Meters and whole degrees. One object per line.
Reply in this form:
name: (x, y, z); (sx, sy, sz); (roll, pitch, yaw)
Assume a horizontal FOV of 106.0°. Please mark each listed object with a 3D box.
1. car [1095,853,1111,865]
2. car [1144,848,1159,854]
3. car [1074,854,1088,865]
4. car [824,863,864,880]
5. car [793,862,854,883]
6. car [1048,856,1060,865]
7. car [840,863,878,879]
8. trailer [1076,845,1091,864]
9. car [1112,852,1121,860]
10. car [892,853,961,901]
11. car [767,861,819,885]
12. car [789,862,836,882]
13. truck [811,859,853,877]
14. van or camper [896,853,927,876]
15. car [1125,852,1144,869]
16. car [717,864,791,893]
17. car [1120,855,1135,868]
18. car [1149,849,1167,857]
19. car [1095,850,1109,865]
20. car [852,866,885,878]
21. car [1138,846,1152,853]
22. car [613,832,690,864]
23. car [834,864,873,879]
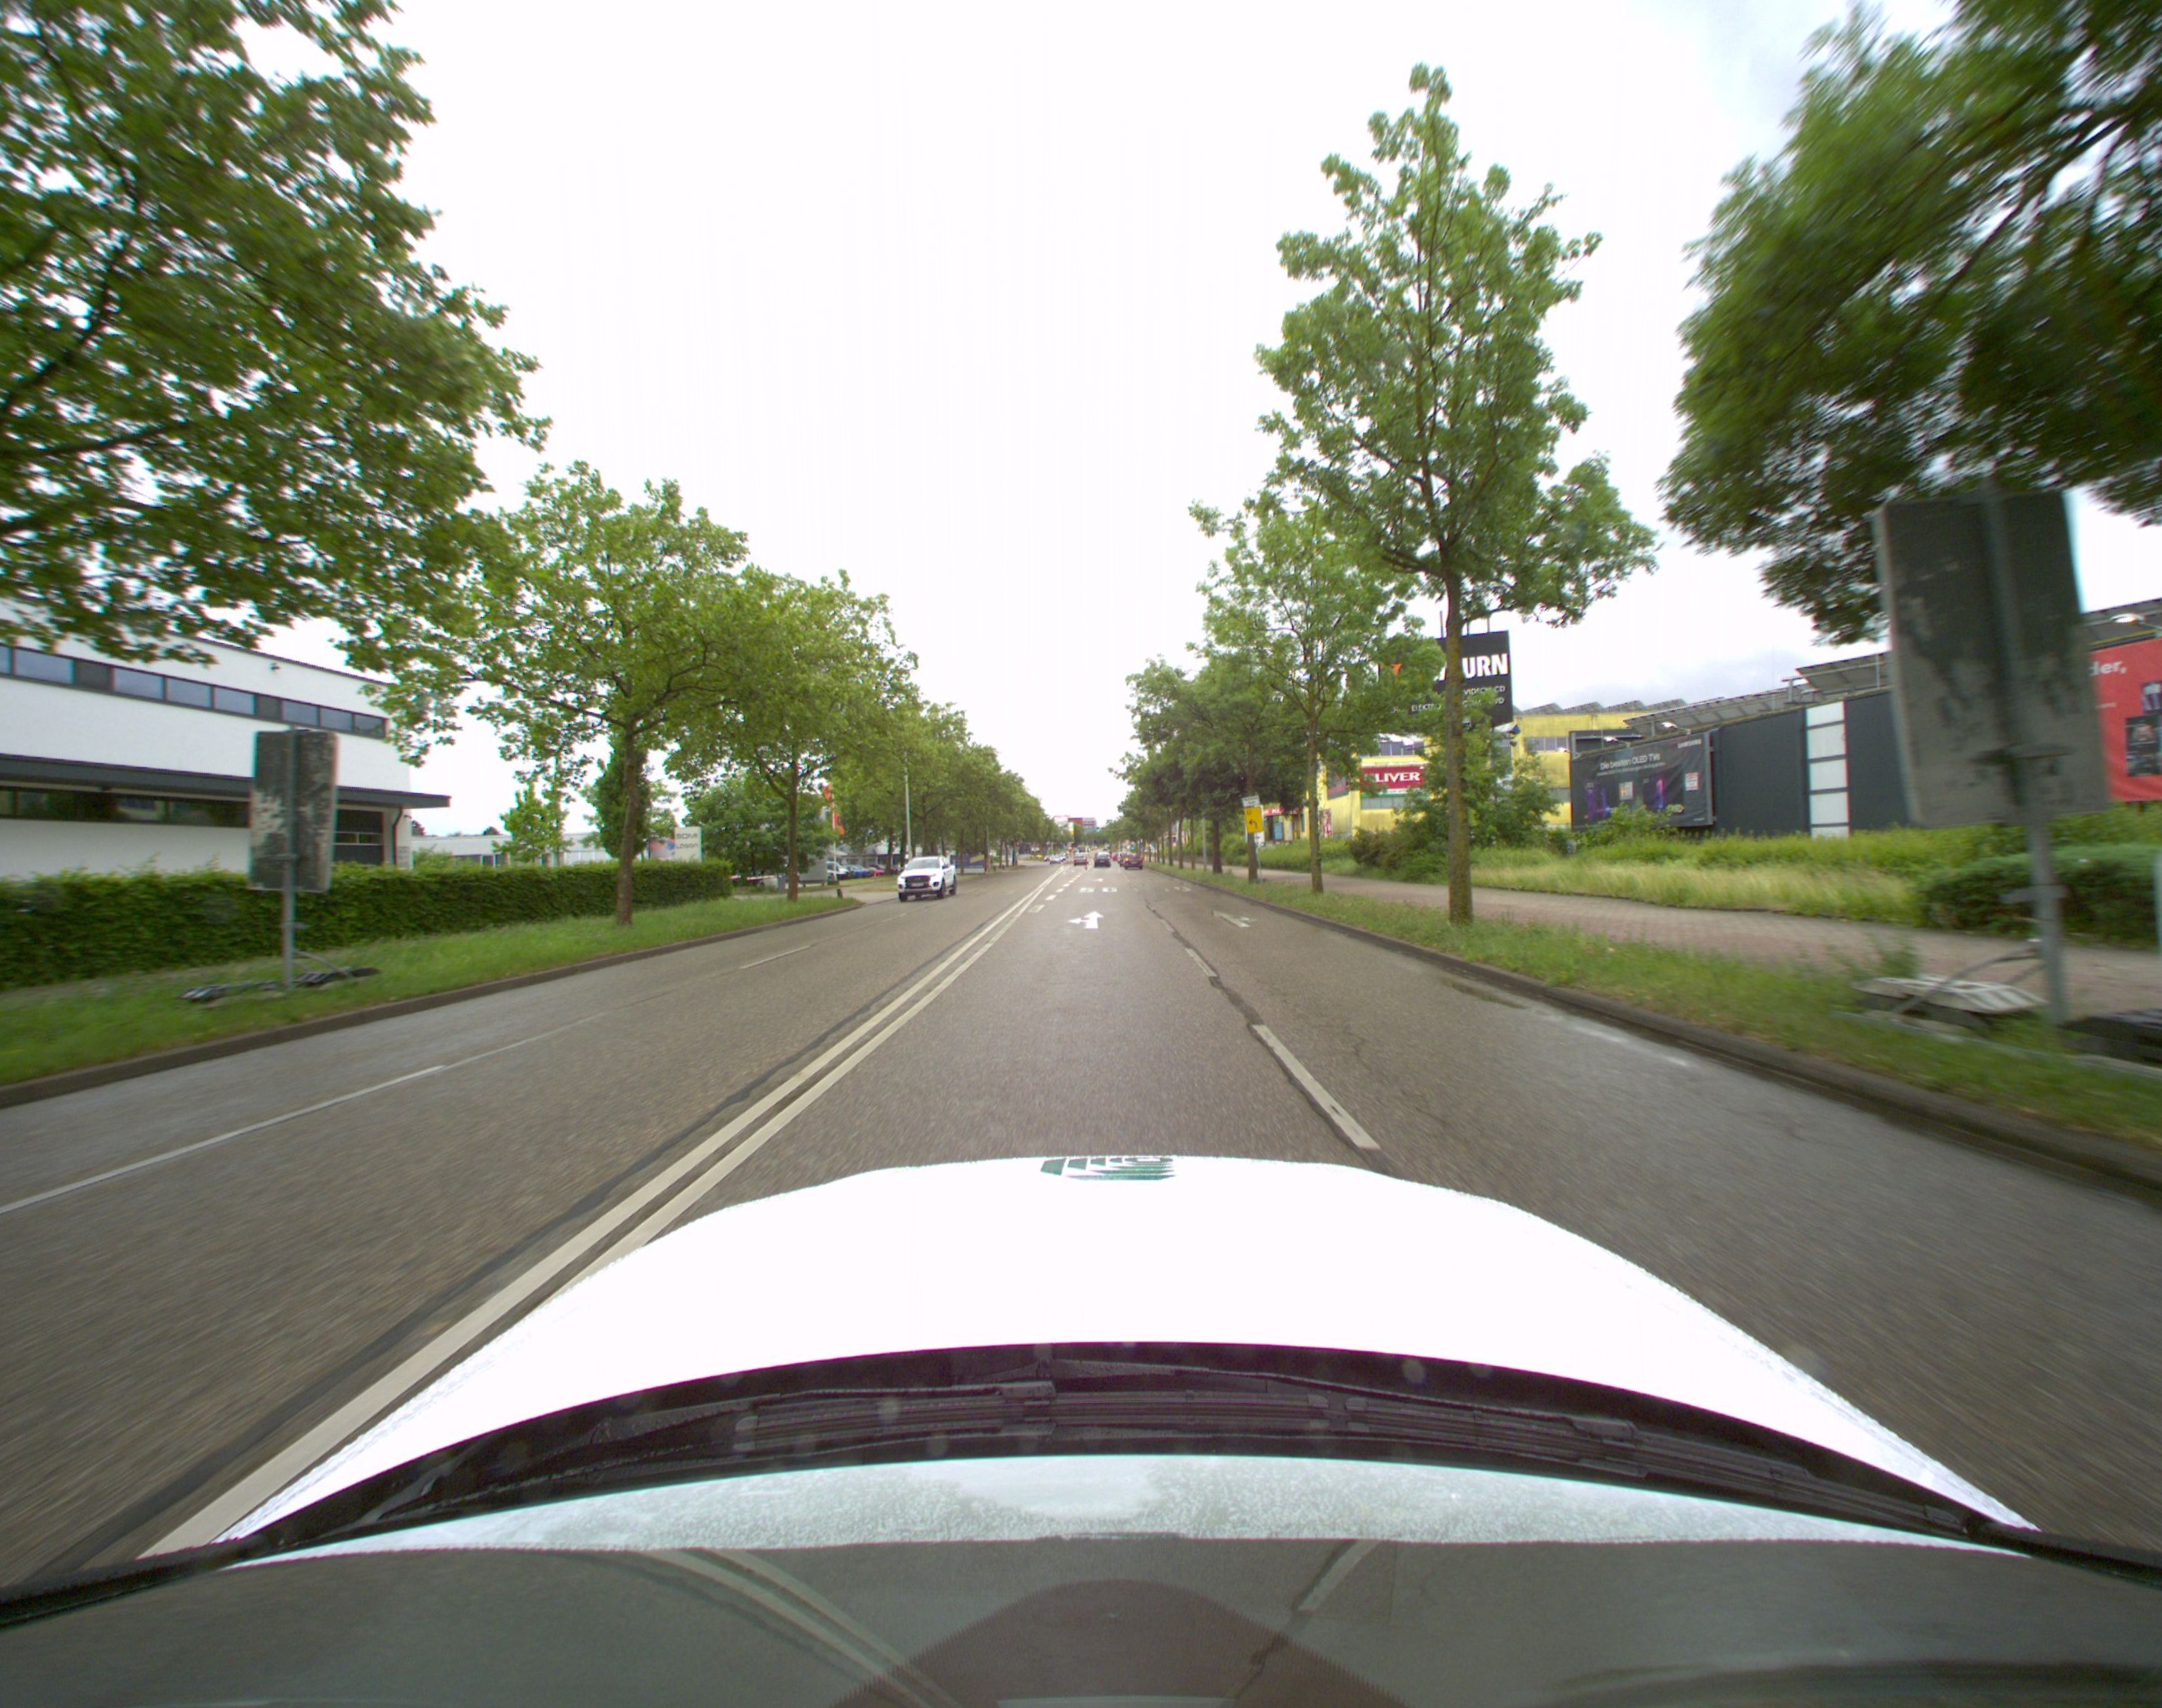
car: (2.632, 0.600, 97.498); (1.775, 1.398, 4.000); (-1, 0, 0)
car: (18.478, -0.749, 213.652); (3.617, 1.536, 1.625); (-3, 0, -39)
car: (0.019, 0.770, 120.852); (1.900, 1.578, 4.881); (-3, 0, 1)
car: (-26.931, 1.982, 92.581); (3.956, 1.767, 1.873); (-2, 0, 16)
car: (-26.475, 1.862, 83.886); (5.362, 1.903, 2.414); (-2, 0, -3)
car: (-4.889, 1.133, 147.284); (1.990, 1.429, 4.678); (-3, 0, -4)
car: (-26.678, 2.075, 97.762); (3.956, 1.767, 1.873); (-2, 0, 17)
trailer: (0.354, 0.087, 135.789); (2.365, 2.897, 5.544); (-3, 0, 0)
car: (6.814, 0.372, 156.283); (1.689, 1.443, 3.990); (-2, 0, 2)
car: (-6.622, 0.921, 35.468); (1.905, 1.805, 5.340); (-3, 0, 0)
car: (-26.219, 1.725, 74.140); (3.976, 2.013, 1.881); (-2, 0, -2)
car: (-26.457, 1.805, 80.250); (3.976, 1.767, 1.881); (-2, 0, -2)
truck: (-26.590, 1.488, 87.169); (3.985, 1.838, 1.994); (-2, 0, -9)
van or camper: (-19.319, 1.152, 92.892); (1.986, 2.470, 6.403); (-1, 0, 2)
car: (5.450, 0.683, 83.995); (1.720, 1.624, 4.472); (-2, 0, 1)
car: (-19.164, 1.384, 48.005); (2.111, 1.496, 5.246); (-2, 0, 0)
car: (5.840, 0.977, 103.391); (1.794, 1.587, 4.452); (0, 0, 2)
car: (18.555, -0.218, 195.617); (1.907, 1.576, 4.315); (-2, 0, 42)
car: (3.008, 0.503, 116.184); (1.986, 2.014, 4.000); (0, -1, 1)
car: (-28.183, 2.388, 107.986); (3.959, 1.467, 1.605); (-2, 0, 13)
car: (19.113, -1.210, 243.153); (4.094, 1.904, 1.801); (-3, 0, 2)
car: (-28.512, -0.400, 54.179); (3.972, 1.889, 1.964); (-2, 0, 2)
car: (-26.616, 2.024, 95.188); (3.957, 1.520, 1.873); (-2, 0, 15)
